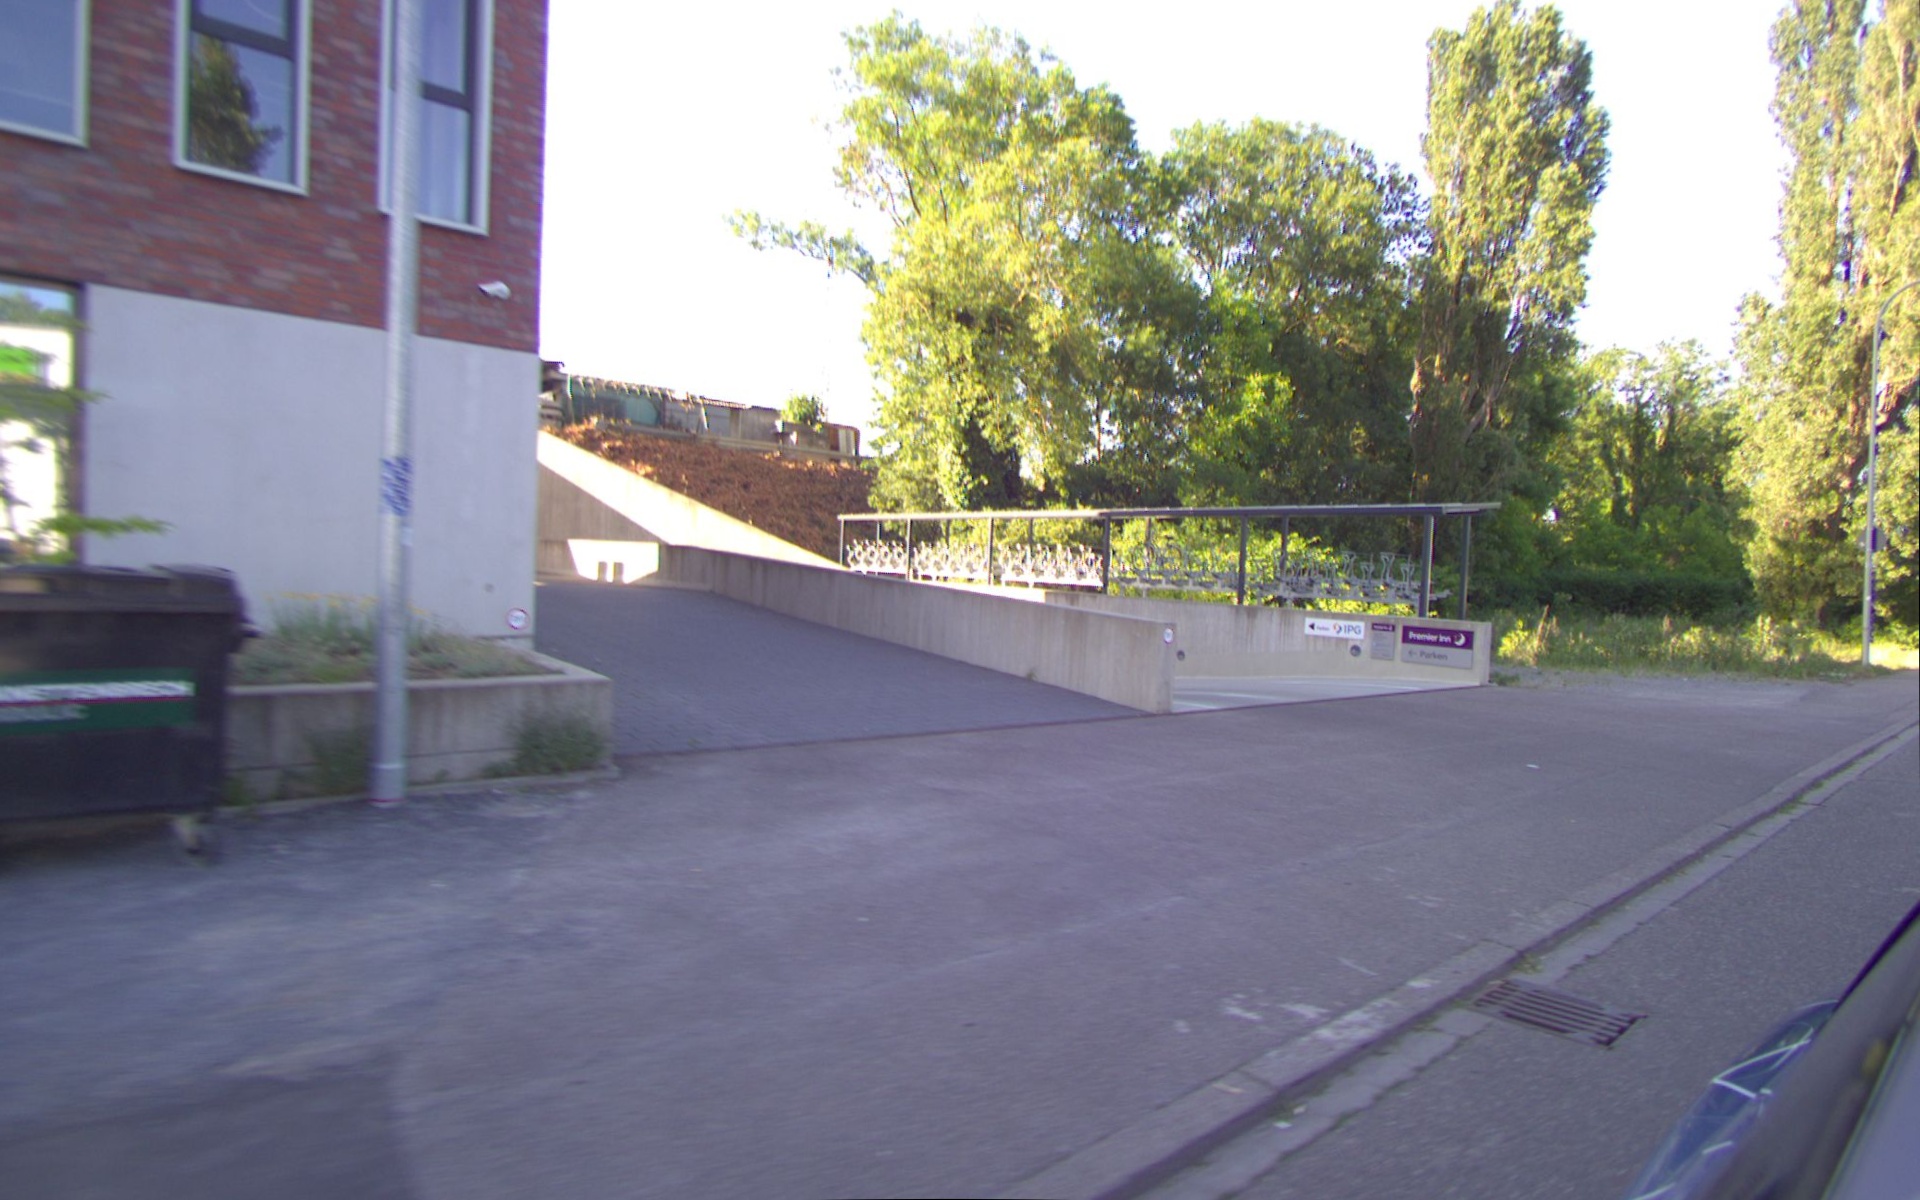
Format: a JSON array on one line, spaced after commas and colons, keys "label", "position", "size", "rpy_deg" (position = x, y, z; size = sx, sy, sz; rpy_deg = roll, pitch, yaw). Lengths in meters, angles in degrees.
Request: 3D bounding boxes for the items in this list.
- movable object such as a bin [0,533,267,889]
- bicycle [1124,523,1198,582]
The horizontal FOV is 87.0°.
[{"label": "movable object such as a bin", "position": [-3.993, 0.415, 4.531], "size": [1.322, 1.388, 1.131], "rpy_deg": [1, 2, -41]}, {"label": "bicycle", "position": [4.822, -1.122, 24.187], "size": [1.955, 1.337, 0.632], "rpy_deg": [0, 2, -41]}]
